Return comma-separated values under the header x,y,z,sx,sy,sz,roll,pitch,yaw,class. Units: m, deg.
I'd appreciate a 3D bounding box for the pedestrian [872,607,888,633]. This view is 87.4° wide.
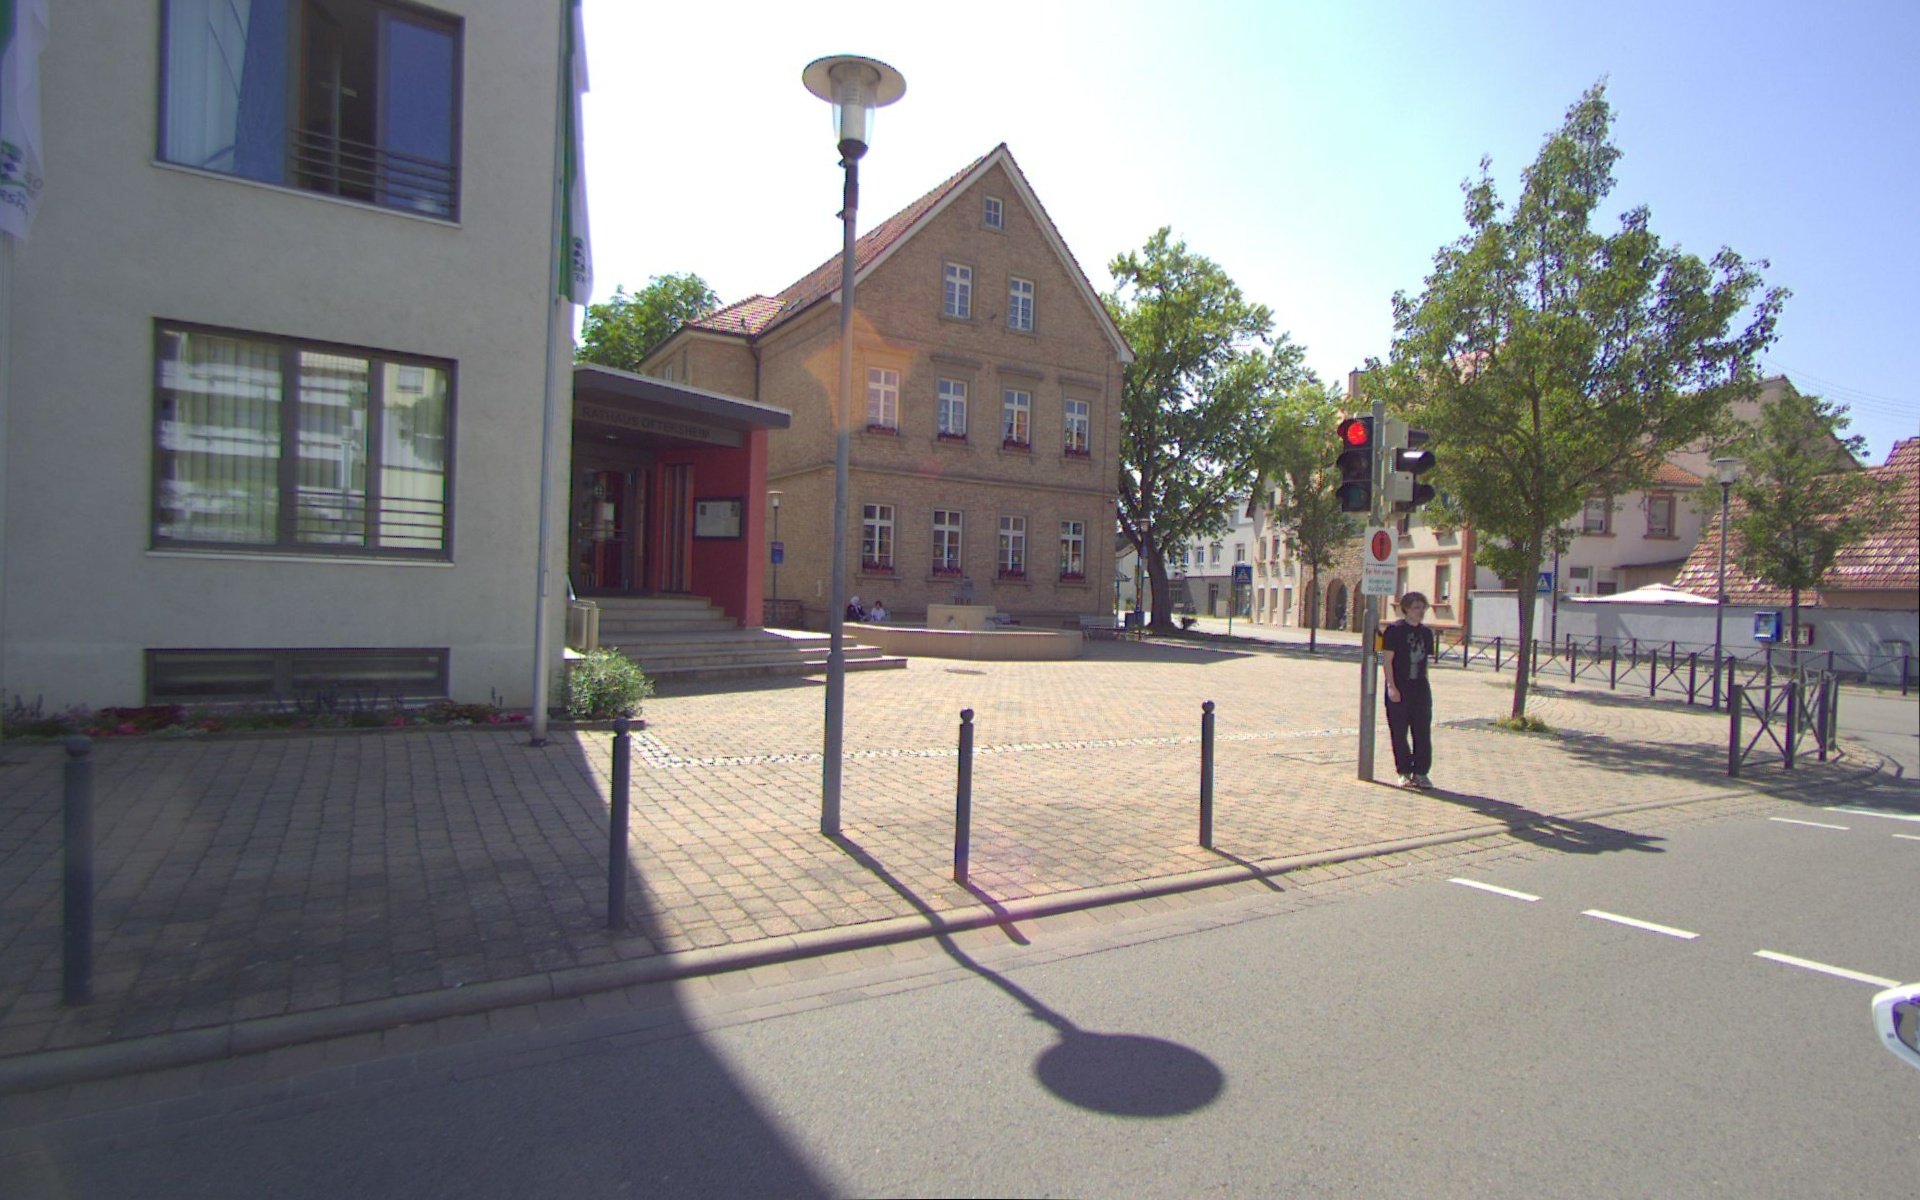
x,y,z,sx,sy,sz,roll,pitch,yaw,class
-2.295,0.578,28.890,0.352,0.742,0.288,2,0,43,pedestrian

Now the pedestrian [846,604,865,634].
x,y,z,sx,sy,sz,roll,pitch,yaw,class
-2.949,0.542,28.395,0.356,0.828,0.365,2,0,42,pedestrian

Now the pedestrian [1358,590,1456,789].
x,y,z,sx,sy,sz,roll,pitch,yaw,class
3.866,0.755,8.718,0.546,1.640,0.550,3,0,4,pedestrian
